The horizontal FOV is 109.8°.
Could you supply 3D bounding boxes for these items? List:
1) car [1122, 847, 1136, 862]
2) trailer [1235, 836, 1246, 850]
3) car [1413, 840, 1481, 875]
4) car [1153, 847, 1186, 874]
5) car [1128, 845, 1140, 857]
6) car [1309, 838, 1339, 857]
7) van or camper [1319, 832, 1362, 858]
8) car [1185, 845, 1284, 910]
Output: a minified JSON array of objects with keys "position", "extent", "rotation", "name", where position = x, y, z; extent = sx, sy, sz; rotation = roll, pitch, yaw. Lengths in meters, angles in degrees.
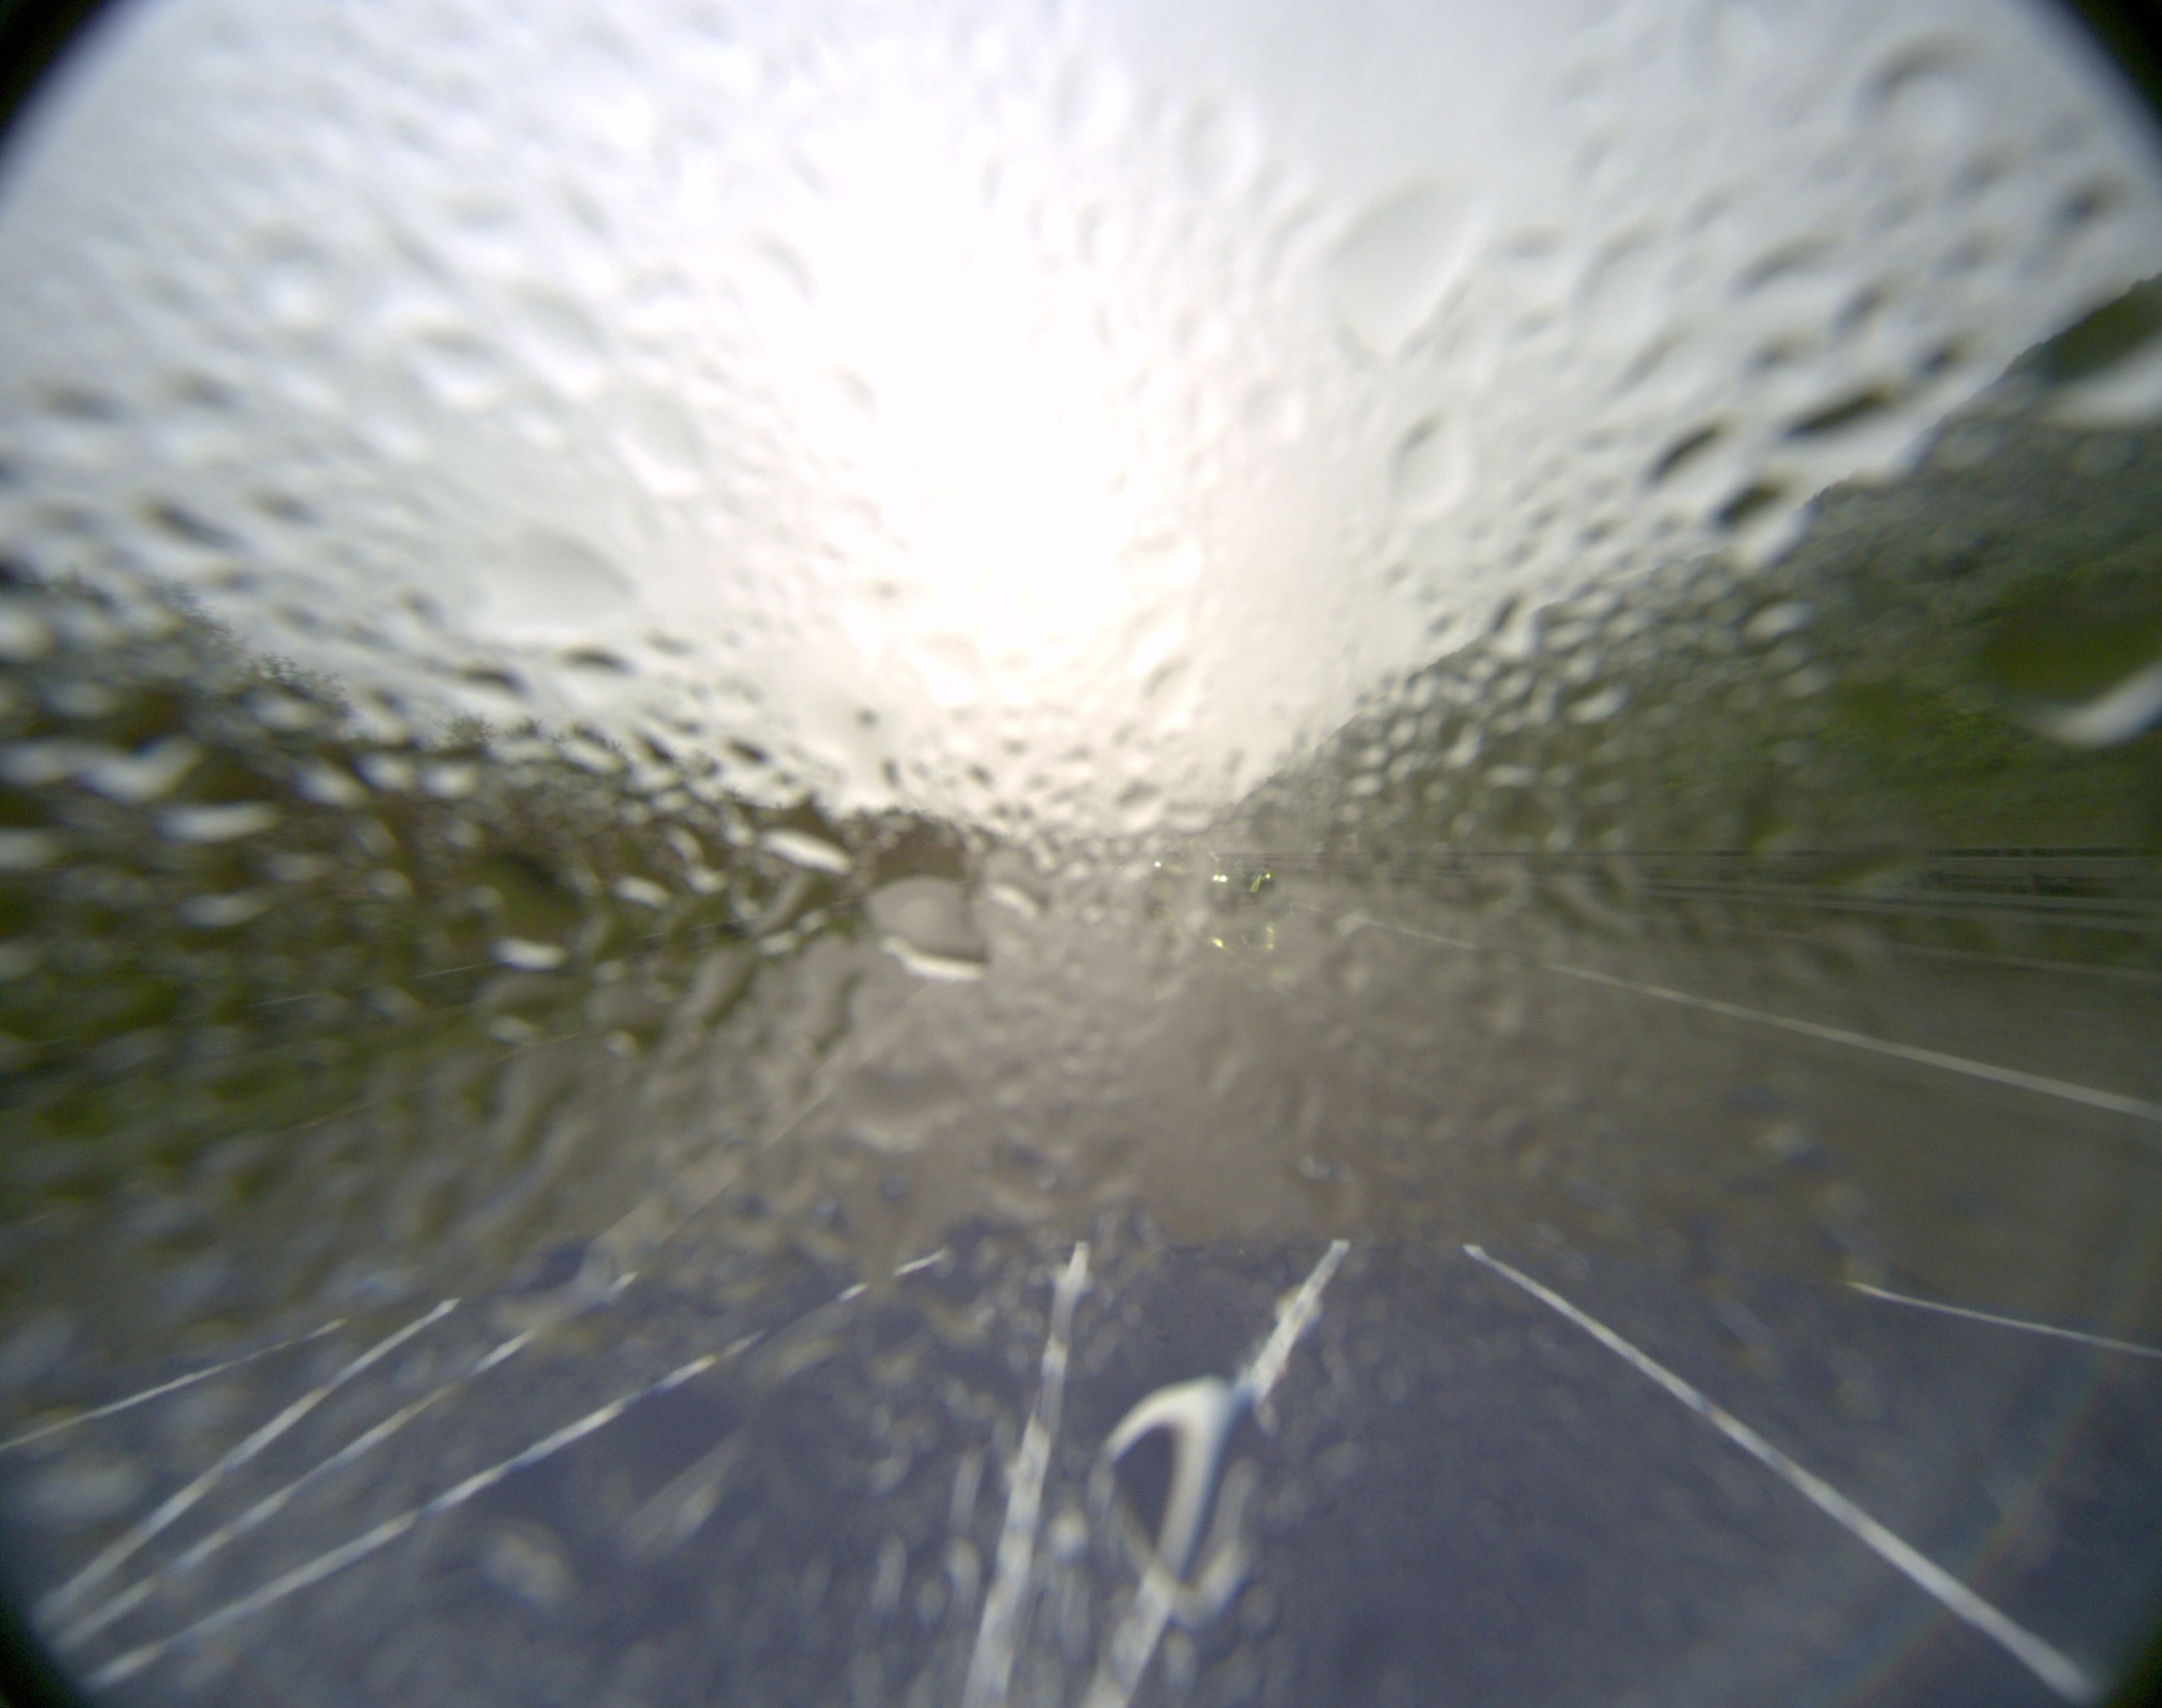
[{"position":[6.923,0.030,108.629],"extent":[1.835,2.002,3.939],"rotation":[-4,1,4],"name":"car"},{"position":[54.823,-3.783,261.433],"extent":[2.742,4.758,14.049],"rotation":[-3,0,8],"name":"trailer"},{"position":[20.834,0.185,43.440],"extent":[1.998,1.849,4.000],"rotation":[-2,0,2],"name":"car"},{"position":[5.871,0.401,50.707],"extent":[1.814,1.692,3.749],"rotation":[-3,1,2],"name":"car"},{"position":[9.837,-0.486,140.754],"extent":[1.998,2.001,4.001],"rotation":[-2,-1,3],"name":"car"},{"position":[28.138,-0.725,88.051],"extent":[1.998,2.003,5.179],"rotation":[-2,0,3],"name":"car"},{"position":[27.871,-0.962,81.913],"extent":[2.350,2.549,7.207],"rotation":[-2,0,3],"name":"van or camper"},{"position":[4.628,0.626,23.702],"extent":[1.998,1.673,4.908],"rotation":[-4,1,0],"name":"car"}]
